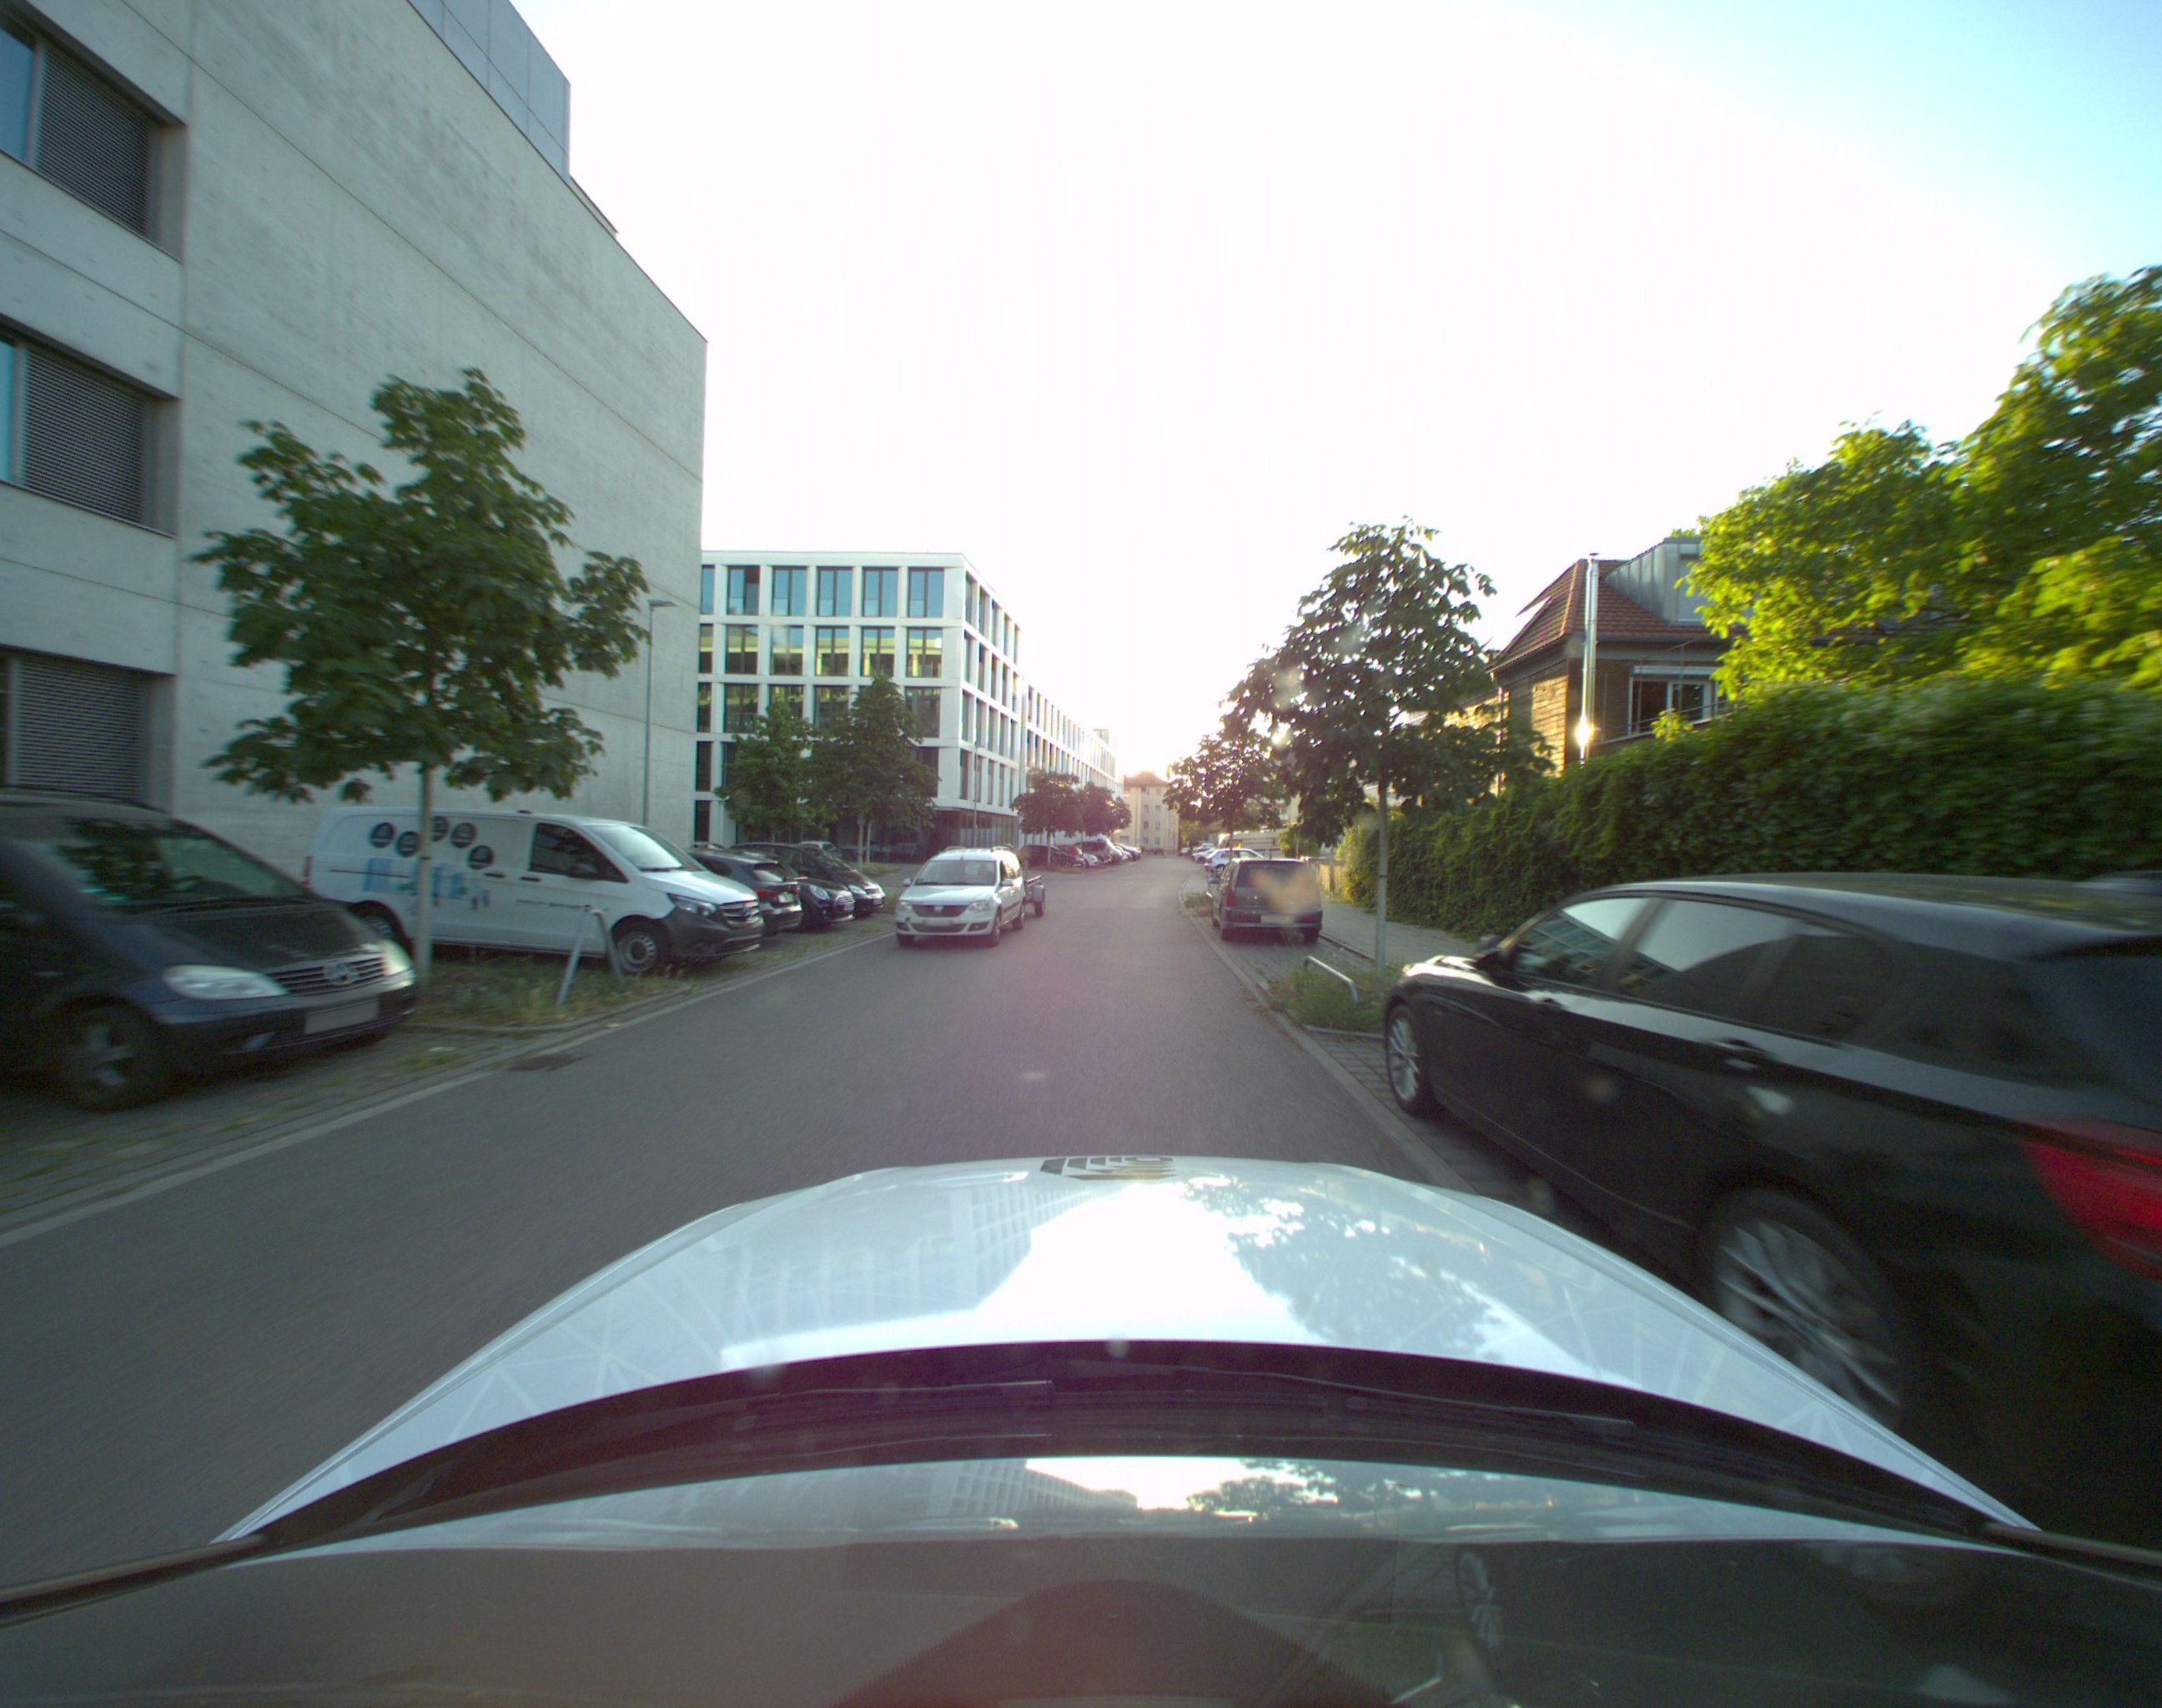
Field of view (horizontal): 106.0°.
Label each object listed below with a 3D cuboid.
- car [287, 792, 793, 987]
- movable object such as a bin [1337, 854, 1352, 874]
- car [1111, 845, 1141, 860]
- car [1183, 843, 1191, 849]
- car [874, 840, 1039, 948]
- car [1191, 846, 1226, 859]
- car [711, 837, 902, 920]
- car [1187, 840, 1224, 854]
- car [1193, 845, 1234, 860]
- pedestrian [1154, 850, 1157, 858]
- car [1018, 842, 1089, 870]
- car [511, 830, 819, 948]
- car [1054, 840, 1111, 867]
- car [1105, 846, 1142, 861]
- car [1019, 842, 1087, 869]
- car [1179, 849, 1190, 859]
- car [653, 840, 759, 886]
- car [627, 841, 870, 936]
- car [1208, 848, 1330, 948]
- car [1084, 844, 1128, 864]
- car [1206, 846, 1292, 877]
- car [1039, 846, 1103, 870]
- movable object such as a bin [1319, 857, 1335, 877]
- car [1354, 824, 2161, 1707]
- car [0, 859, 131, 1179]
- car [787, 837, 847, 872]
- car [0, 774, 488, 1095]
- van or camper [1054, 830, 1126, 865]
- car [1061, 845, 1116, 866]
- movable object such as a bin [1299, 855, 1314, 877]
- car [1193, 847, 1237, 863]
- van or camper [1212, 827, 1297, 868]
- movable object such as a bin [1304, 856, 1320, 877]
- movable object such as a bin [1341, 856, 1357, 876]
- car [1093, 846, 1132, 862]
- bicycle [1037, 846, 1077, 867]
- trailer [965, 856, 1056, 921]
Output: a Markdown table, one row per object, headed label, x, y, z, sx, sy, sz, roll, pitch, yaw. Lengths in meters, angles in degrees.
| label | x | y | z | sx | sy | sz | roll | pitch | yaw |
| --- | --- | --- | --- | --- | --- | --- | --- | --- | --- |
| car | -6.592 | 0.404 | 10.358 | 5.058 | 1.946 | 1.889 | 4 | 0 | 1 |
| movable object such as a bin | 13.500 | 0.503 | 41.732 | 0.576 | 0.958 | 0.689 | 1 | 1 | 4 |
| car | 4.726 | -0.158 | 84.881 | 2.997 | 1.421 | 1.462 | 0 | 2 | 9 |
| car | 25.011 | -1.904 | 191.677 | 1.733 | 1.525 | 3.559 | 1 | 1 | 7 |
| car | -2.092 | 0.642 | 15.165 | 1.943 | 1.686 | 4.729 | 0 | 0 | 5 |
| car | 15.190 | -0.189 | 97.148 | 4.032 | 1.479 | 1.770 | 0 | 2 | 4 |
| car | -6.113 | 0.512 | 18.330 | 3.616 | 1.577 | 1.664 | 3 | 1 | 7 |
| car | 15.379 | -0.830 | 100.793 | 4.322 | 1.644 | 1.818 | 0 | 2 | 4 |
| car | 13.791 | -0.190 | 84.752 | 4.032 | 1.479 | 1.770 | 0 | 2 | 4 |
| pedestrian | 13.390 | 0.045 | 145.572 | 0.498 | 1.379 | 0.455 | 1 | 0 | 6 |
| car | -1.641 | 0.108 | 49.300 | 4.029 | 1.478 | 1.771 | 3 | 2 | 6 |
| car | -6.484 | 0.526 | 12.988 | 3.974 | 1.522 | 1.606 | 4 | 0 | 0 |
| car | 0.142 | -0.056 | 59.550 | 4.030 | 1.908 | 1.739 | 0 | 1 | 5 |
| car | 4.344 | -0.013 | 82.553 | 3.538 | 1.479 | 1.462 | 0 | 2 | 9 |
| car | -1.756 | 0.085 | 52.205 | 4.026 | 1.479 | 1.772 | 3 | 1 | 9 |
| car | 18.838 | -0.013 | 148.172 | 1.939 | 1.585 | 3.648 | 1 | 1 | 7 |
| car | -13.082 | 0.312 | 28.709 | 1.773 | 1.486 | 3.935 | 1 | -1 | 2 |
| car | -6.233 | 0.608 | 15.536 | 3.871 | 1.488 | 1.652 | 3 | 1 | 2 |
| car | 3.373 | 0.682 | 15.358 | 1.715 | 1.580 | 4.606 | 1 | 0 | 6 |
| car | 2.140 | -0.017 | 69.335 | 3.538 | 1.652 | 1.462 | 0 | 1 | 9 |
| car | 8.362 | 0.380 | 40.753 | 4.032 | 1.479 | 1.770 | 0 | 2 | 4 |
| car | -0.635 | 0.258 | 54.625 | 4.026 | 1.479 | 1.772 | 0 | 2 | 9 |
| movable object such as a bin | 11.894 | 0.628 | 39.339 | 0.576 | 0.958 | 0.689 | 1 | 1 | 4 |
| car | 2.604 | 0.694 | 3.359 | 1.686 | 1.509 | 4.195 | 0 | 0 | 2 |
| car | -6.900 | 0.639 | 3.229 | 4.130 | 1.404 | 1.725 | 4 | 0 | 0 |
| car | -13.009 | -0.016 | 40.325 | 1.716 | 1.485 | 3.554 | 1 | 3 | 2 |
| car | -6.822 | 0.371 | 5.501 | 4.233 | 1.742 | 1.725 | 4 | 0 | 0 |
| van or camper | 0.741 | -0.533 | 64.535 | 5.420 | 2.483 | 1.780 | 3 | 2 | 9 |
| car | 0.577 | 0.139 | 62.032 | 4.030 | 1.524 | 1.739 | 0 | 2 | 5 |
| movable object such as a bin | 11.053 | 0.576 | 39.876 | 0.576 | 1.010 | 0.689 | 1 | 1 | 4 |
| car | 12.689 | 0.058 | 77.102 | 4.026 | 1.479 | 1.772 | 0 | 2 | 8 |
| van or camper | 12.033 | -0.477 | 56.811 | 5.583 | 2.789 | 2.433 | 0 | 1 | 4 |
| movable object such as a bin | 11.073 | 0.598 | 39.091 | 0.576 | 1.010 | 0.689 | 1 | 1 | 4 |
| movable object such as a bin | 13.432 | 0.611 | 40.820 | 0.576 | 0.958 | 0.689 | 1 | 1 | 4 |
| car | 2.972 | 0.022 | 76.722 | 3.538 | 1.479 | 1.462 | 0 | 2 | 9 |
| bicycle | -1.389 | 0.146 | 47.192 | 2.166 | 1.174 | 0.813 | 1 | 0 | 8 |
| trailer | -1.621 | 0.778 | 19.880 | 1.698 | 1.349 | 3.491 | 1 | 1 | 3 |
